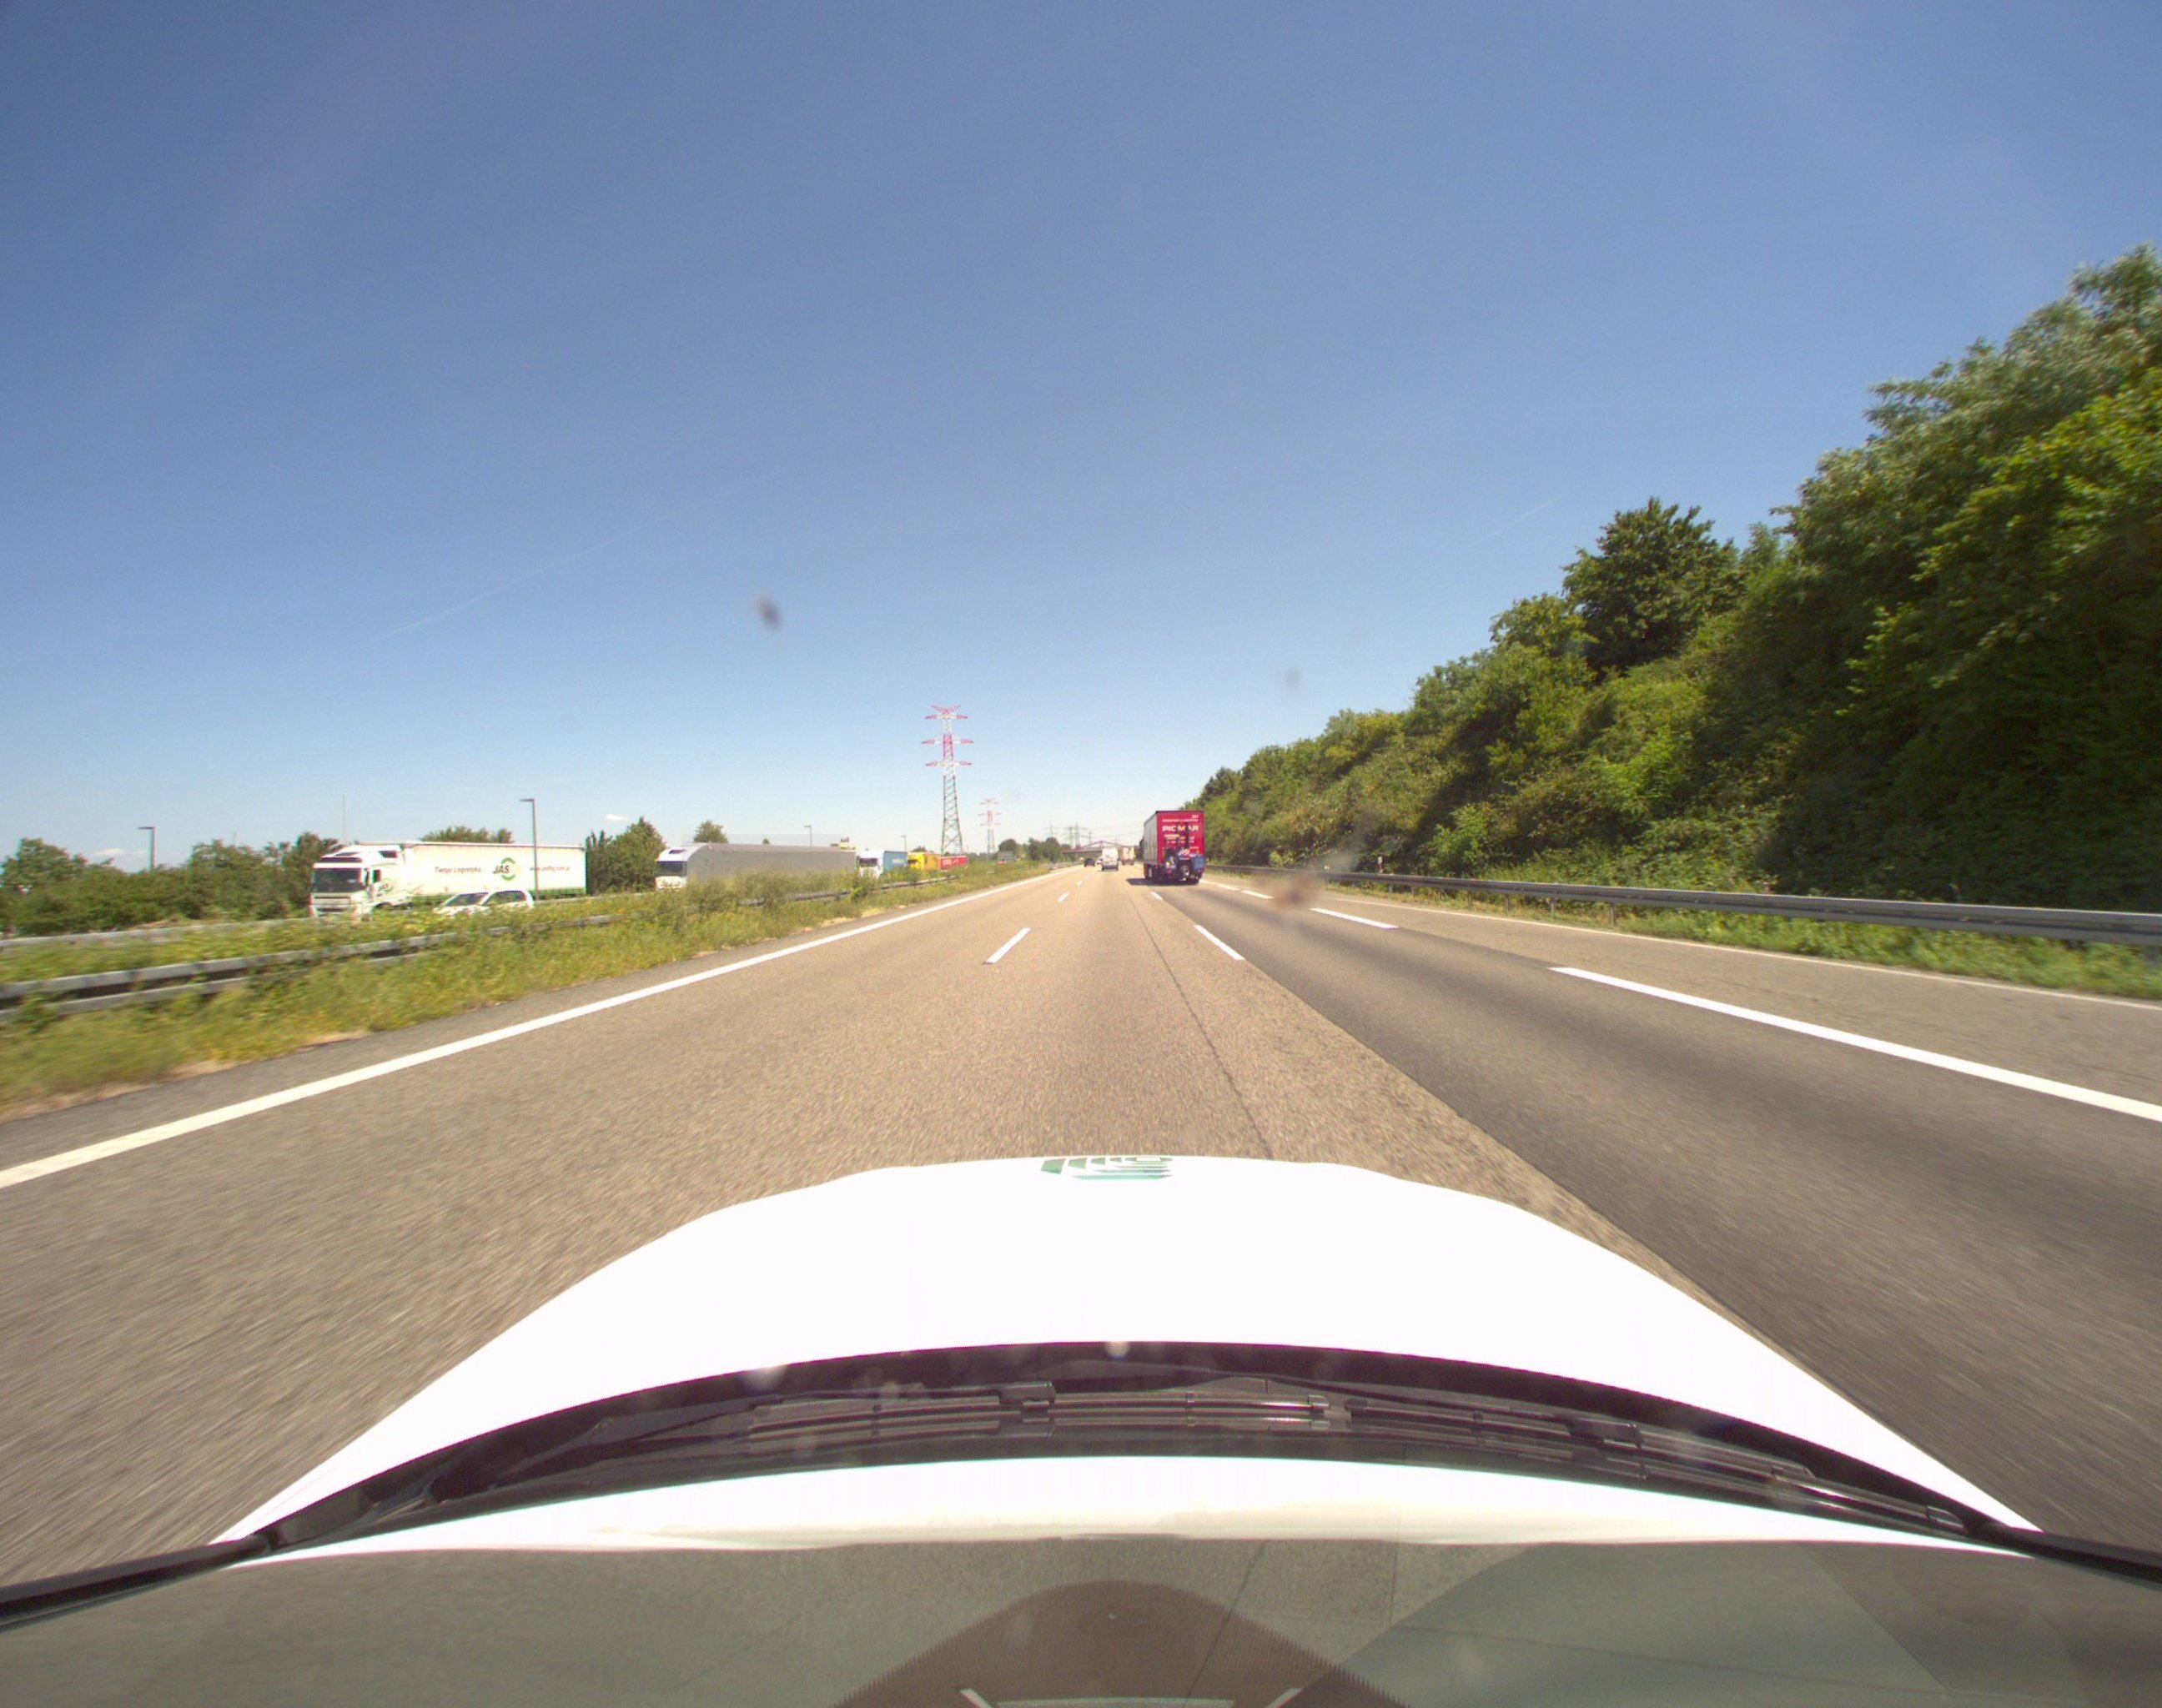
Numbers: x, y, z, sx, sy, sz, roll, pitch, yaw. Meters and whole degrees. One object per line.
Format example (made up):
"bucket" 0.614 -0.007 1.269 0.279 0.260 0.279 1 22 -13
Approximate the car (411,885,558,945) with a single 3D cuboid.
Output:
"car" -20.220 1.993 27.871 1.644 1.747 4.410 0 0 2

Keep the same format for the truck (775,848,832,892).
"truck" -27.841 1.559 82.007 3.106 4.158 7.505 0 -1 1

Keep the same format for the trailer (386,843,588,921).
"trailer" -35.184 1.530 49.243 3.082 4.156 12.014 0 0 2

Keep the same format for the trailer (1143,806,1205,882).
"trailer" 5.370 -0.457 49.353 2.481 3.909 14.251 -1 -1 2

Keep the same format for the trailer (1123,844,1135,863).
"trailer" 10.671 -0.074 181.928 2.626 4.060 12.375 0 0 3

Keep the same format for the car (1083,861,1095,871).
"car" 1.462 2.230 152.419 1.973 1.817 3.817 0 0 4

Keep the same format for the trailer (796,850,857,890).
"trailer" -27.745 1.662 89.488 3.102 4.158 11.016 0 0 1

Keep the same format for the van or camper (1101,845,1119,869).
"van or camper" 3.585 0.387 100.578 2.221 2.782 5.425 0 -1 2

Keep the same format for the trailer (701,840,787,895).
"trailer" -27.992 1.101 68.248 2.589 4.219 10.518 0 0 2

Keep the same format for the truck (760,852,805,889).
"truck" -33.021 1.763 90.216 2.686 4.006 5.746 0 -1 2

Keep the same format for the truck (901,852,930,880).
"truck" -26.038 1.876 128.458 2.823 4.200 7.920 0 -1 1

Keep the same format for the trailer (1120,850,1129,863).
"trailer" 13.273 0.709 246.835 2.626 3.897 7.074 0 -1 3

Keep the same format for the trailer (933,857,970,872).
"trailer" -35.731 2.882 225.027 3.090 4.055 11.385 -1 -1 36

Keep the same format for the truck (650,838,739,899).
"truck" -28.224 1.035 59.933 2.572 4.188 7.939 -1 -1 2

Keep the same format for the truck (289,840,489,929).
"truck" -35.397 1.481 42.274 3.083 4.152 8.319 0 0 2

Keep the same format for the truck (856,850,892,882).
"truck" -27.055 1.547 106.688 2.839 4.073 7.090 0 -1 1

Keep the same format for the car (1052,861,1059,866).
"car" -7.658 2.920 246.785 1.735 1.276 4.320 -5 -1 2

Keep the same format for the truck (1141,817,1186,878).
"truck" 5.596 -0.402 56.242 2.490 3.920 7.099 -1 -1 2

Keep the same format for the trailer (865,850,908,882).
"trailer" -26.917 1.634 113.466 2.823 4.148 12.086 0 0 1
